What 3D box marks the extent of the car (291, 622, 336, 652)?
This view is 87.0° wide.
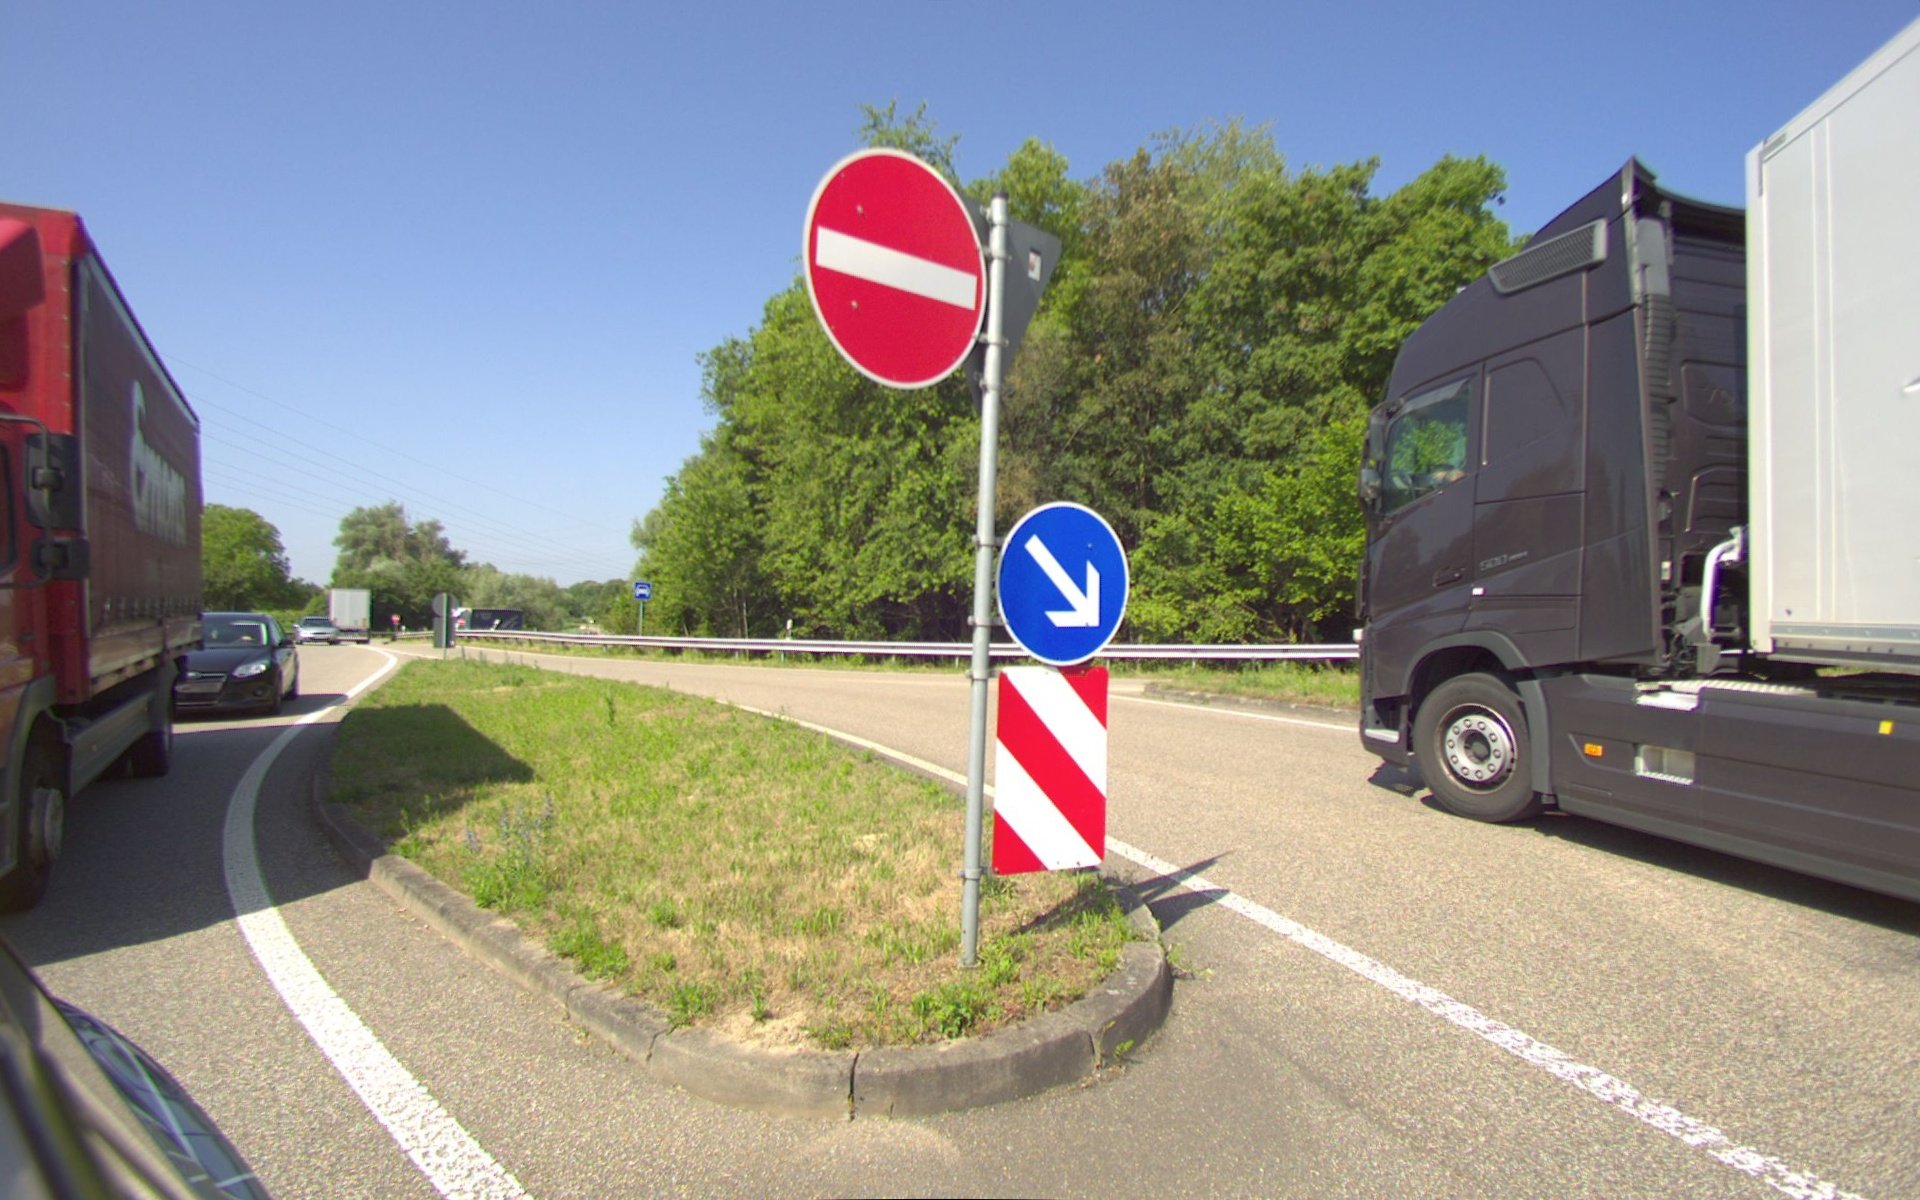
[{"bbox_3d":[-32.479,1.811,50.810,1.759,1.396,4.389,0,-1,-34],"label":"car"}]

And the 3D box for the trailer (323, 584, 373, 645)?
[{"bbox_3d":[-47.555,1.175,78.557,2.909,4.300,14.021,3,-2,-32],"label":"trailer"}]

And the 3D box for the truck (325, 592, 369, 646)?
[{"bbox_3d":[-51.141,1.598,84.350,2.891,4.279,5.748,2,-2,-33],"label":"truck"}]

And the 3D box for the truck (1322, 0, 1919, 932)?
[{"bbox_3d":[5.058,-0.732,5.420,2.831,4.205,5.987,-1,-1,-16],"label":"truck"}]

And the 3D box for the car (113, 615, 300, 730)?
[{"bbox_3d":[-10.933,0.955,14.953,1.758,1.425,4.012,0,-1,-30],"label":"car"}]

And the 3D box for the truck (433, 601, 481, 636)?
[{"bbox_3d":[-63.797,2.448,128.473,2.903,4.270,5.726,1,-2,4],"label":"truck"}]

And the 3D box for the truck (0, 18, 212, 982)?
[{"bbox_3d":[-7.235,-0.321,7.077,2.646,3.689,9.287,0,-1,-33],"label":"truck"}]

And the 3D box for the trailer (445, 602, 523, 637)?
[{"bbox_3d":[-63.393,2.724,135.249,2.893,4.272,13.962,1,-2,4],"label":"trailer"}]
